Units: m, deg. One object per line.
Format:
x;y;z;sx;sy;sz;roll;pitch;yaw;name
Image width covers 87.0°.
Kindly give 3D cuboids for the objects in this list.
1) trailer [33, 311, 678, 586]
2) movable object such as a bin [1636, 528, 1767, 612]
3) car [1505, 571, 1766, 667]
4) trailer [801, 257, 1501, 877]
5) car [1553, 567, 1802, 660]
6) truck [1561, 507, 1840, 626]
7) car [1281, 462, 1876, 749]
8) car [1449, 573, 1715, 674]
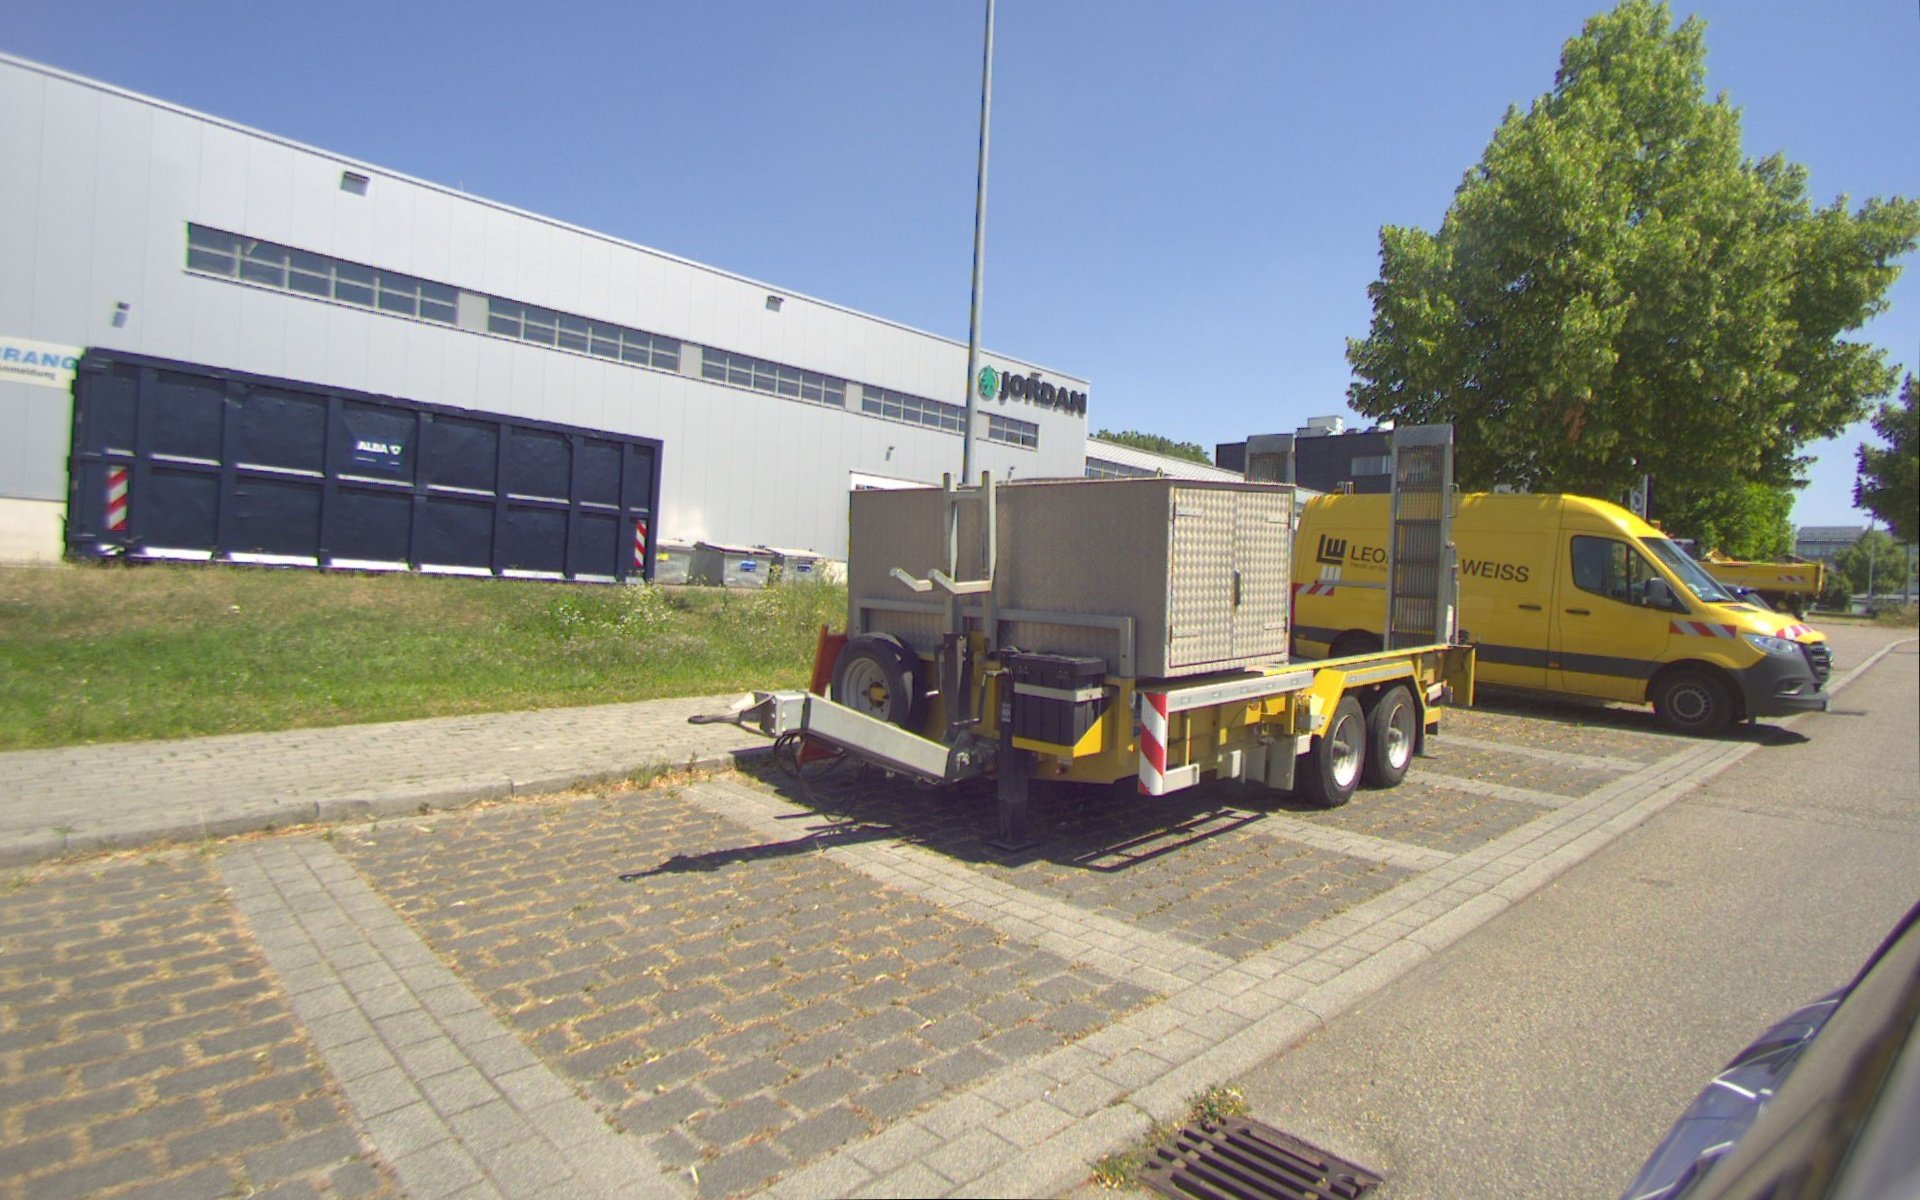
-8.036;-1.691;14.315;7.284;2.452;2.663;5;-2;-42;trailer
25.230;-0.997;34.336;6.460;2.613;1.998;-1;2;-39;movable object such as a bin
12.382;0.275;18.690;3.772;1.525;1.565;3;2;44;car
1.813;-0.241;7.646;2.656;2.892;5.436;5;3;42;trailer
13.836;0.179;19.659;1.600;1.480;3.666;0;4;-43;car
21.841;-1.067;30.085;6.402;3.174;2.556;3;4;43;truck
7.199;-0.196;12.512;1.966;2.765;5.791;2;4;-42;car
10.592;0.326;17.391;3.604;1.497;1.602;3;2;45;car
